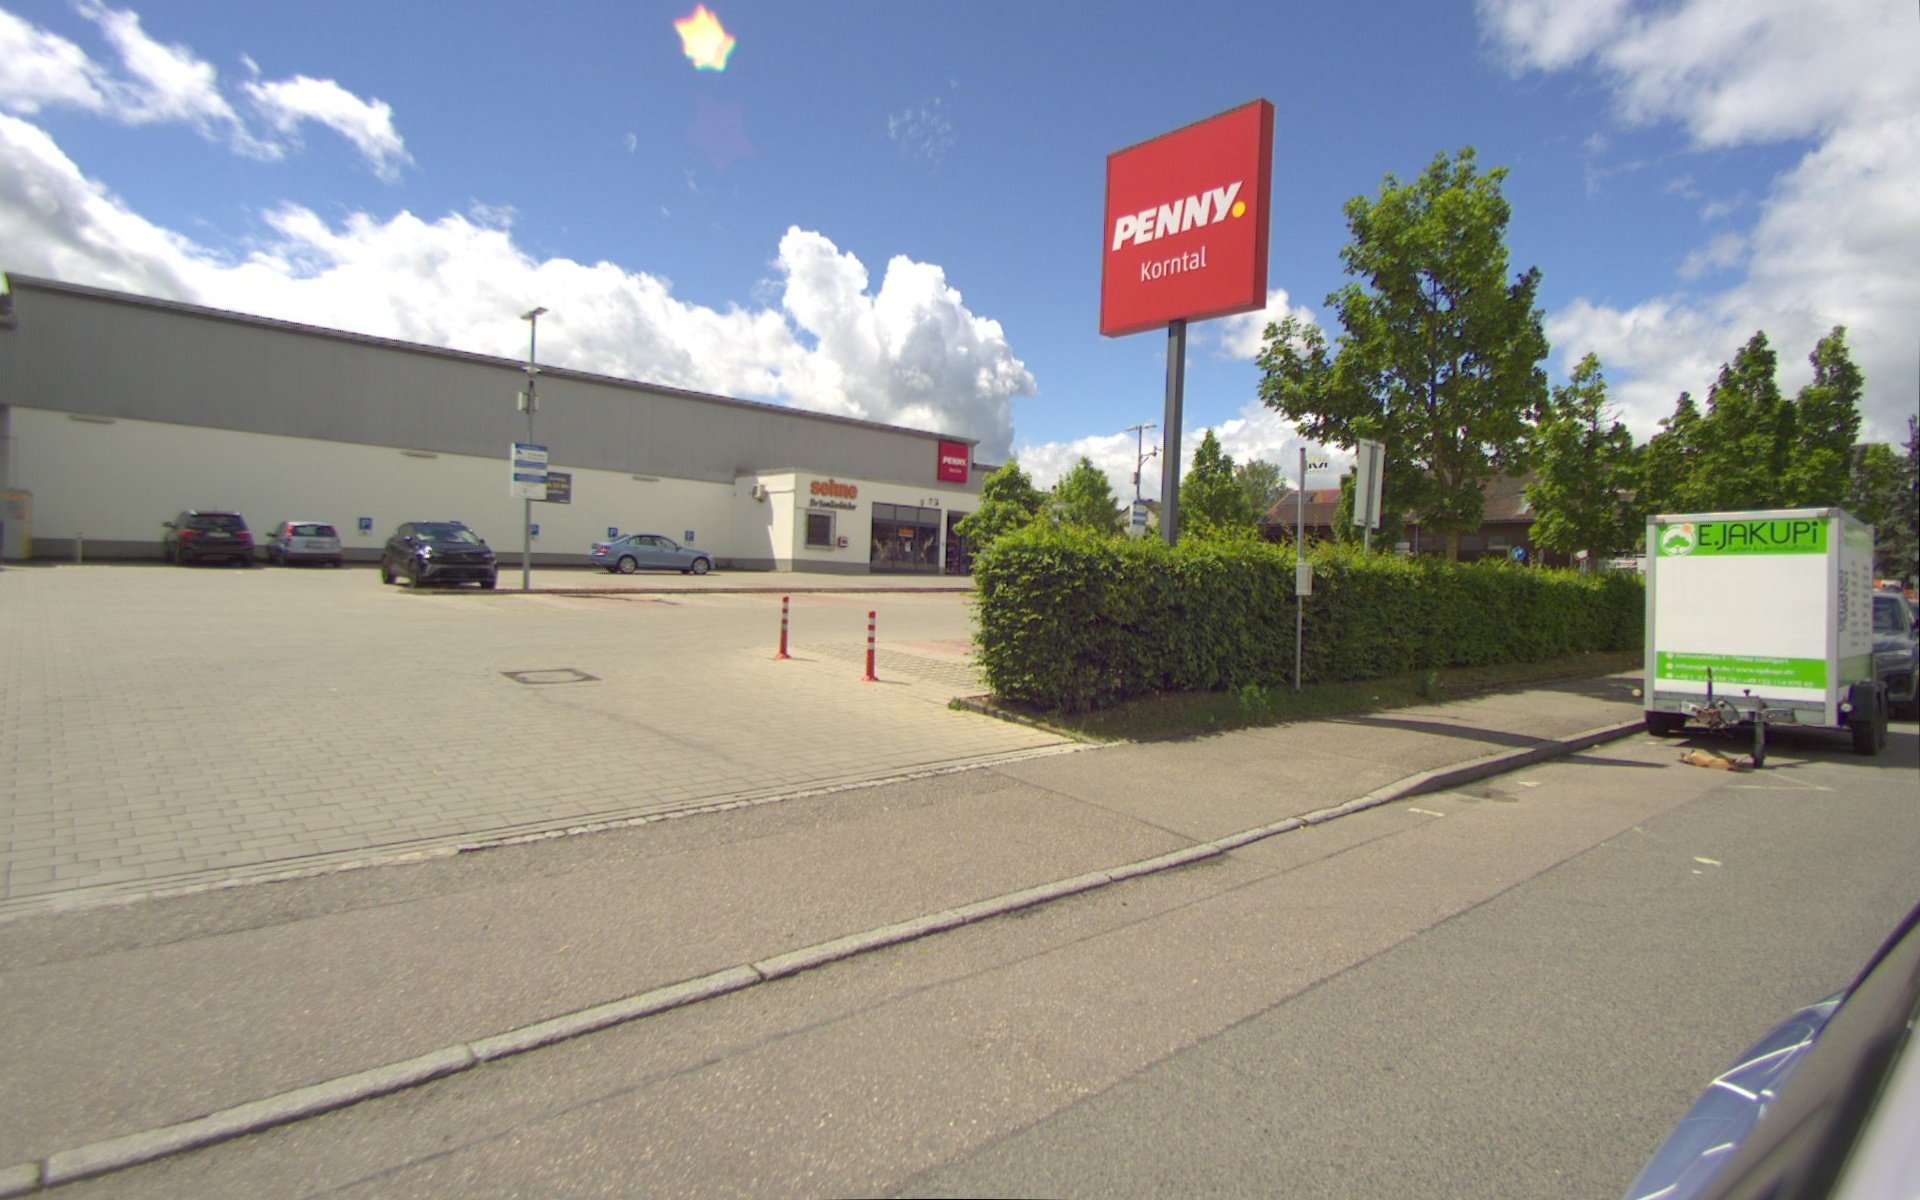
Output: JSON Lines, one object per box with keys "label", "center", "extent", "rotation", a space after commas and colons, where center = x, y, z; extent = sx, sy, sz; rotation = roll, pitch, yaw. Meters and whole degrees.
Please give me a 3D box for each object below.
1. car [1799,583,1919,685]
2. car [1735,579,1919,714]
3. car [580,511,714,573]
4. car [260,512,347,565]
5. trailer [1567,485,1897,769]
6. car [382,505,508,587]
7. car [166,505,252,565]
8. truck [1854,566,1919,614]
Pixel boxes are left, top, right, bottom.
{"label": "car", "center": [16.651, 0.563, 17.913], "extent": [4.365, 1.591, 1.946], "rotation": [1, 2, -39]}
{"label": "car", "center": [12.642, 0.567, 14.351], "extent": [4.371, 1.591, 1.944], "rotation": [1, 2, -44]}
{"label": "car", "center": [-11.309, -2.040, 36.647], "extent": [4.222, 1.928, 2.000], "rotation": [1, -1, -35]}
{"label": "car", "center": [-21.132, -1.942, 32.523], "extent": [1.787, 1.527, 3.995], "rotation": [1, 1, -41]}
{"label": "trailer", "center": [8.098, 0.186, 10.457], "extent": [4.370, 2.322, 1.944], "rotation": [0, 2, -43]}
{"label": "car", "center": [-12.436, -1.210, 24.328], "extent": [1.964, 1.705, 3.996], "rotation": [1, -1, -38]}
{"label": "car", "center": [-22.659, -1.913, 30.483], "extent": [1.787, 1.643, 3.995], "rotation": [1, 1, -41]}
{"label": "truck", "center": [46.554, -0.479, 50.793], "extent": [5.293, 2.107, 1.833], "rotation": [2, 3, -43]}
